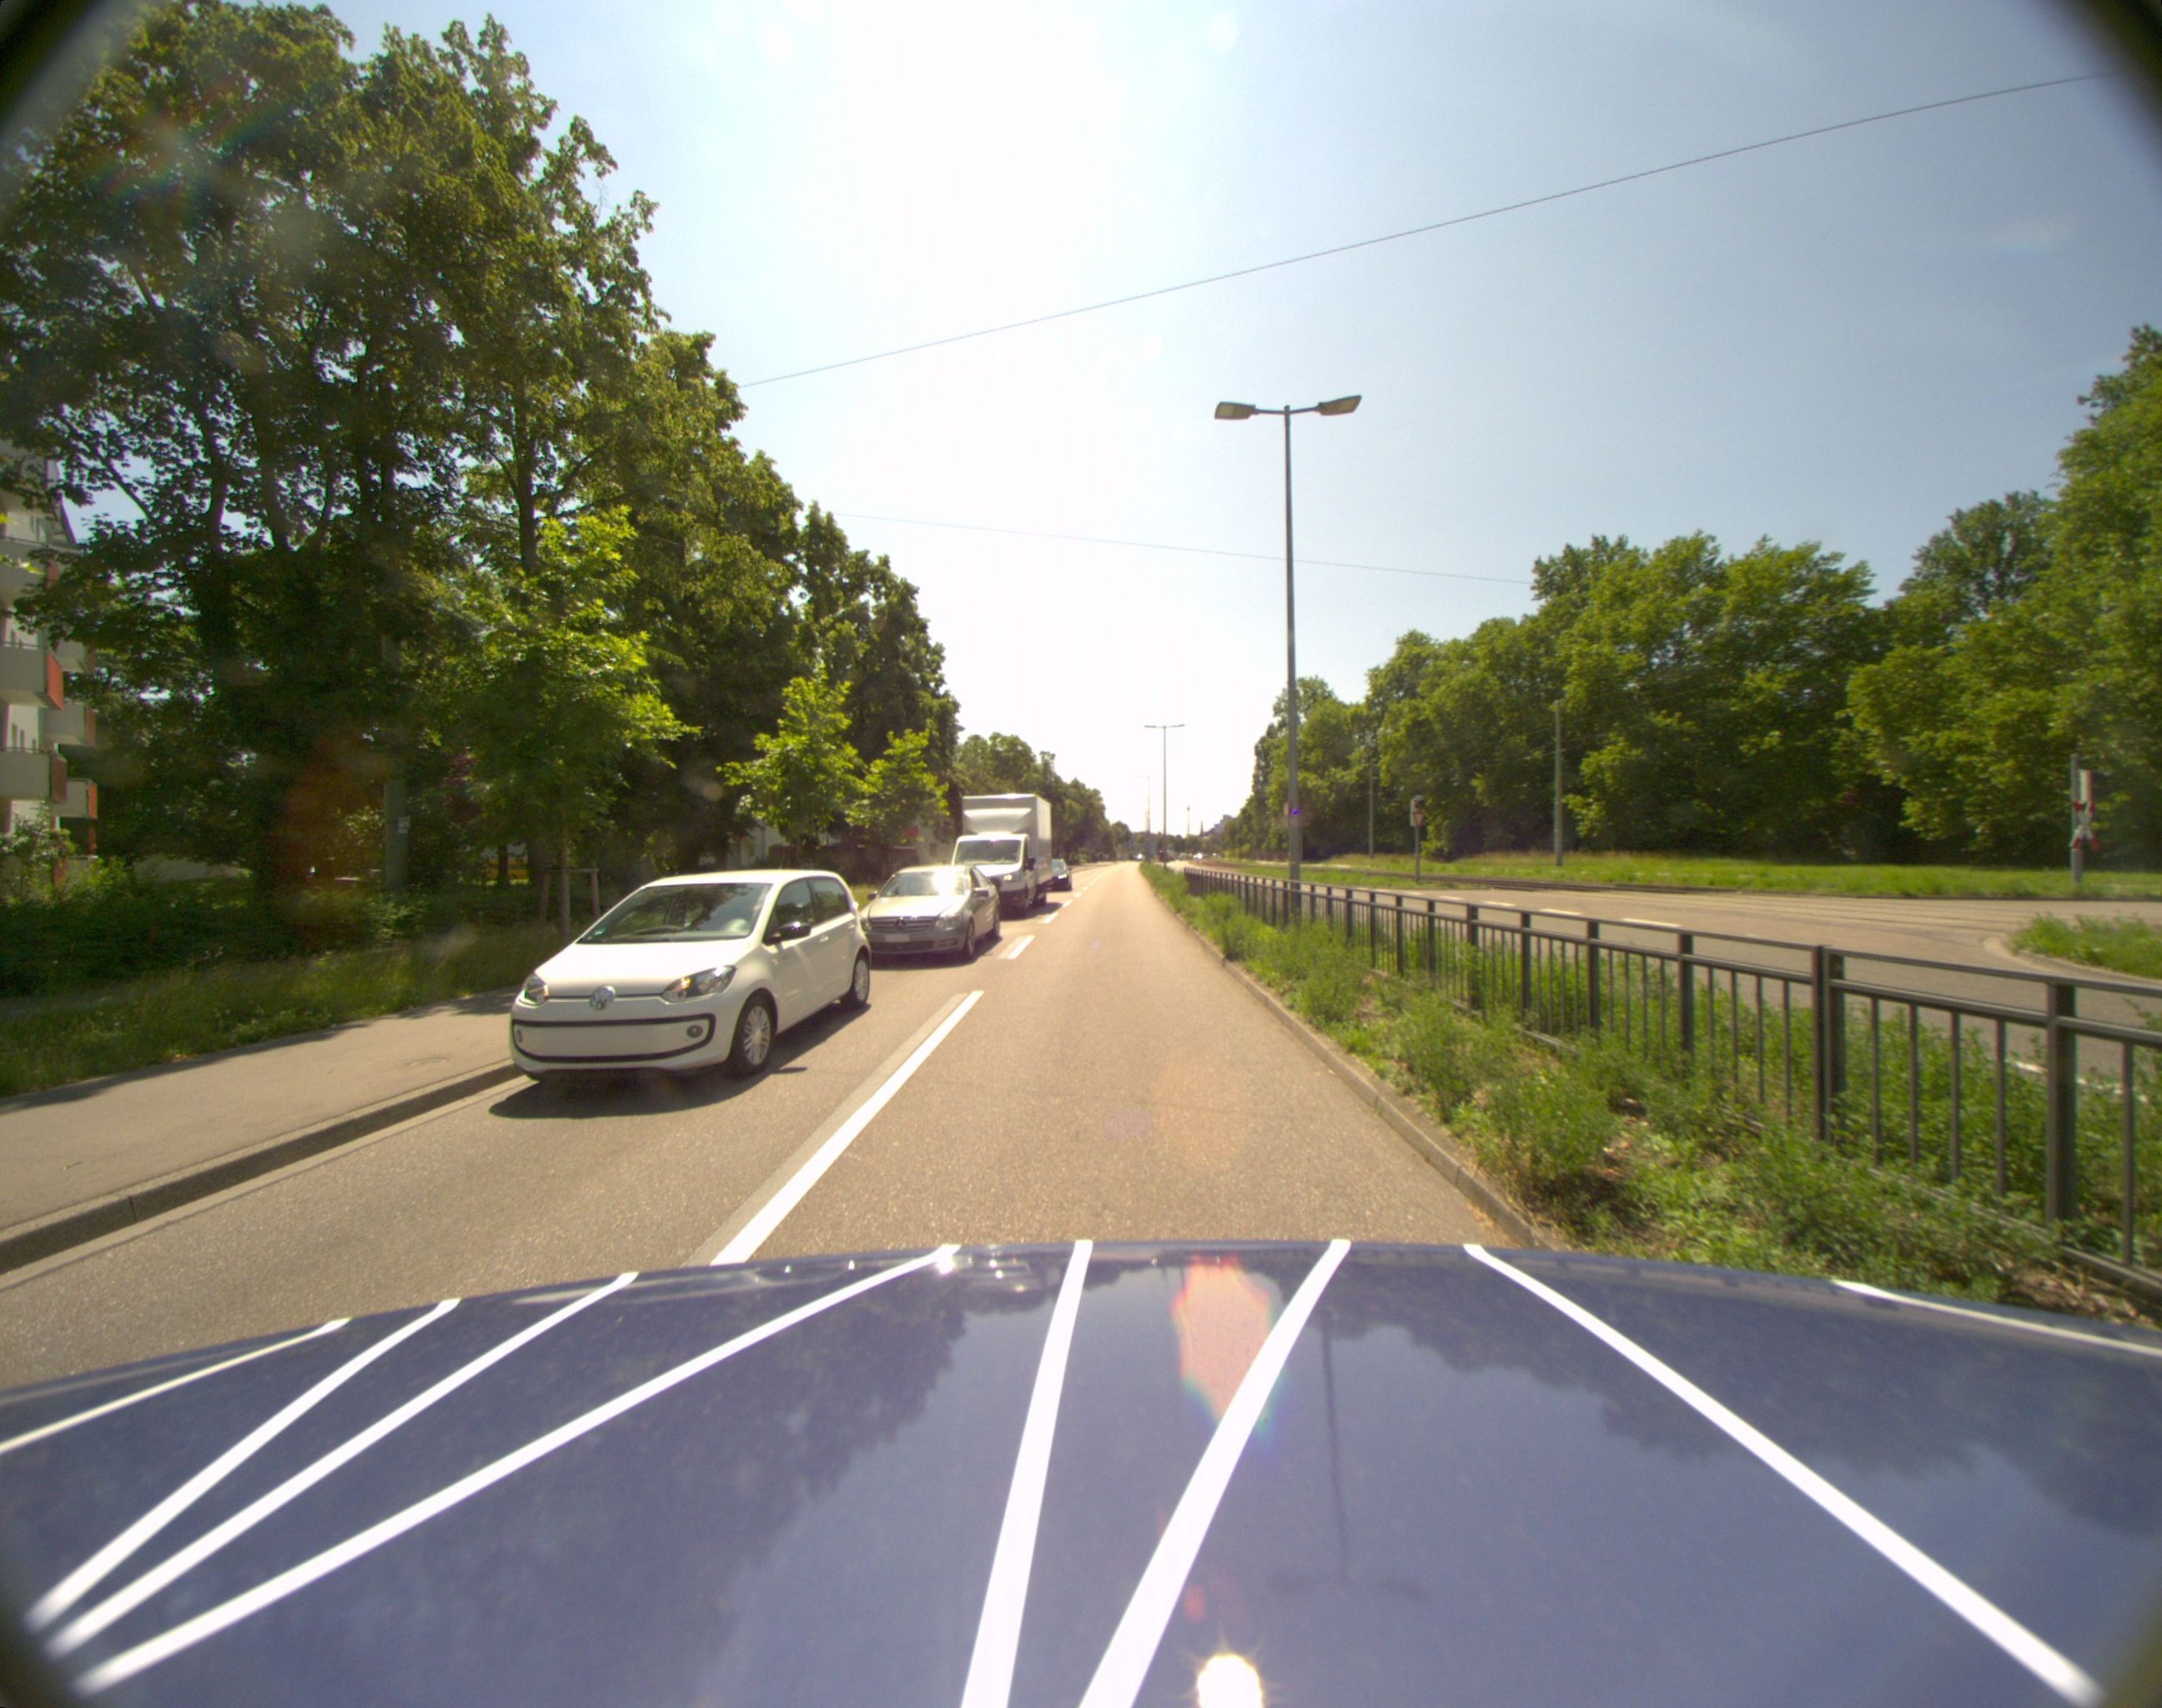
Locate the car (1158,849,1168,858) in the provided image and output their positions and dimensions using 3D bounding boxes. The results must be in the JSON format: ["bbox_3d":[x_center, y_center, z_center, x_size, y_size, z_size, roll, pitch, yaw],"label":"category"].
[{"bbox_3d":[16.554,-0.107,153.892,1.997,1.847,4.002,-1,0,7],"label":"car"}]

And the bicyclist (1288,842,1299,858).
[{"bbox_3d":[24.109,-0.468,86.210,0.862,1.796,1.118,-1,1,1],"label":"bicyclist"}]

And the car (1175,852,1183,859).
[{"bbox_3d":[26.719,0.320,207.311,1.998,1.847,4.001,-1,0,5],"label":"car"}]

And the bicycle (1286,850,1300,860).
[{"bbox_3d":[24.095,0.115,86.273,0.862,1.155,2.787,-1,0,1],"label":"bicycle"}]

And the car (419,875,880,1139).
[{"bbox_3d":[-3.128,0.989,6.517,1.730,1.470,3.771,-1,0,1],"label":"car"}]

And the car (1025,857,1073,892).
[{"bbox_3d":[-1.418,0.900,35.081,1.998,1.499,4.000,-1,0,1],"label":"car"}]

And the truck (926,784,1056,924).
[{"bbox_3d":[-2.300,-0.007,22.276,2.433,3.326,7.923,-1,0,3],"label":"truck"}]

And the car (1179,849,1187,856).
[{"bbox_3d":[26.888,-0.395,200.925,1.998,1.847,4.001,-1,0,5],"label":"car"}]

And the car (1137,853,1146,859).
[{"bbox_3d":[15.490,0.547,194.918,1.997,1.499,4.002,-1,0,7],"label":"car"}]

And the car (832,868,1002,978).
[{"bbox_3d":[-2.476,0.986,12.538,1.840,1.400,4.087,-1,0,1],"label":"car"}]
